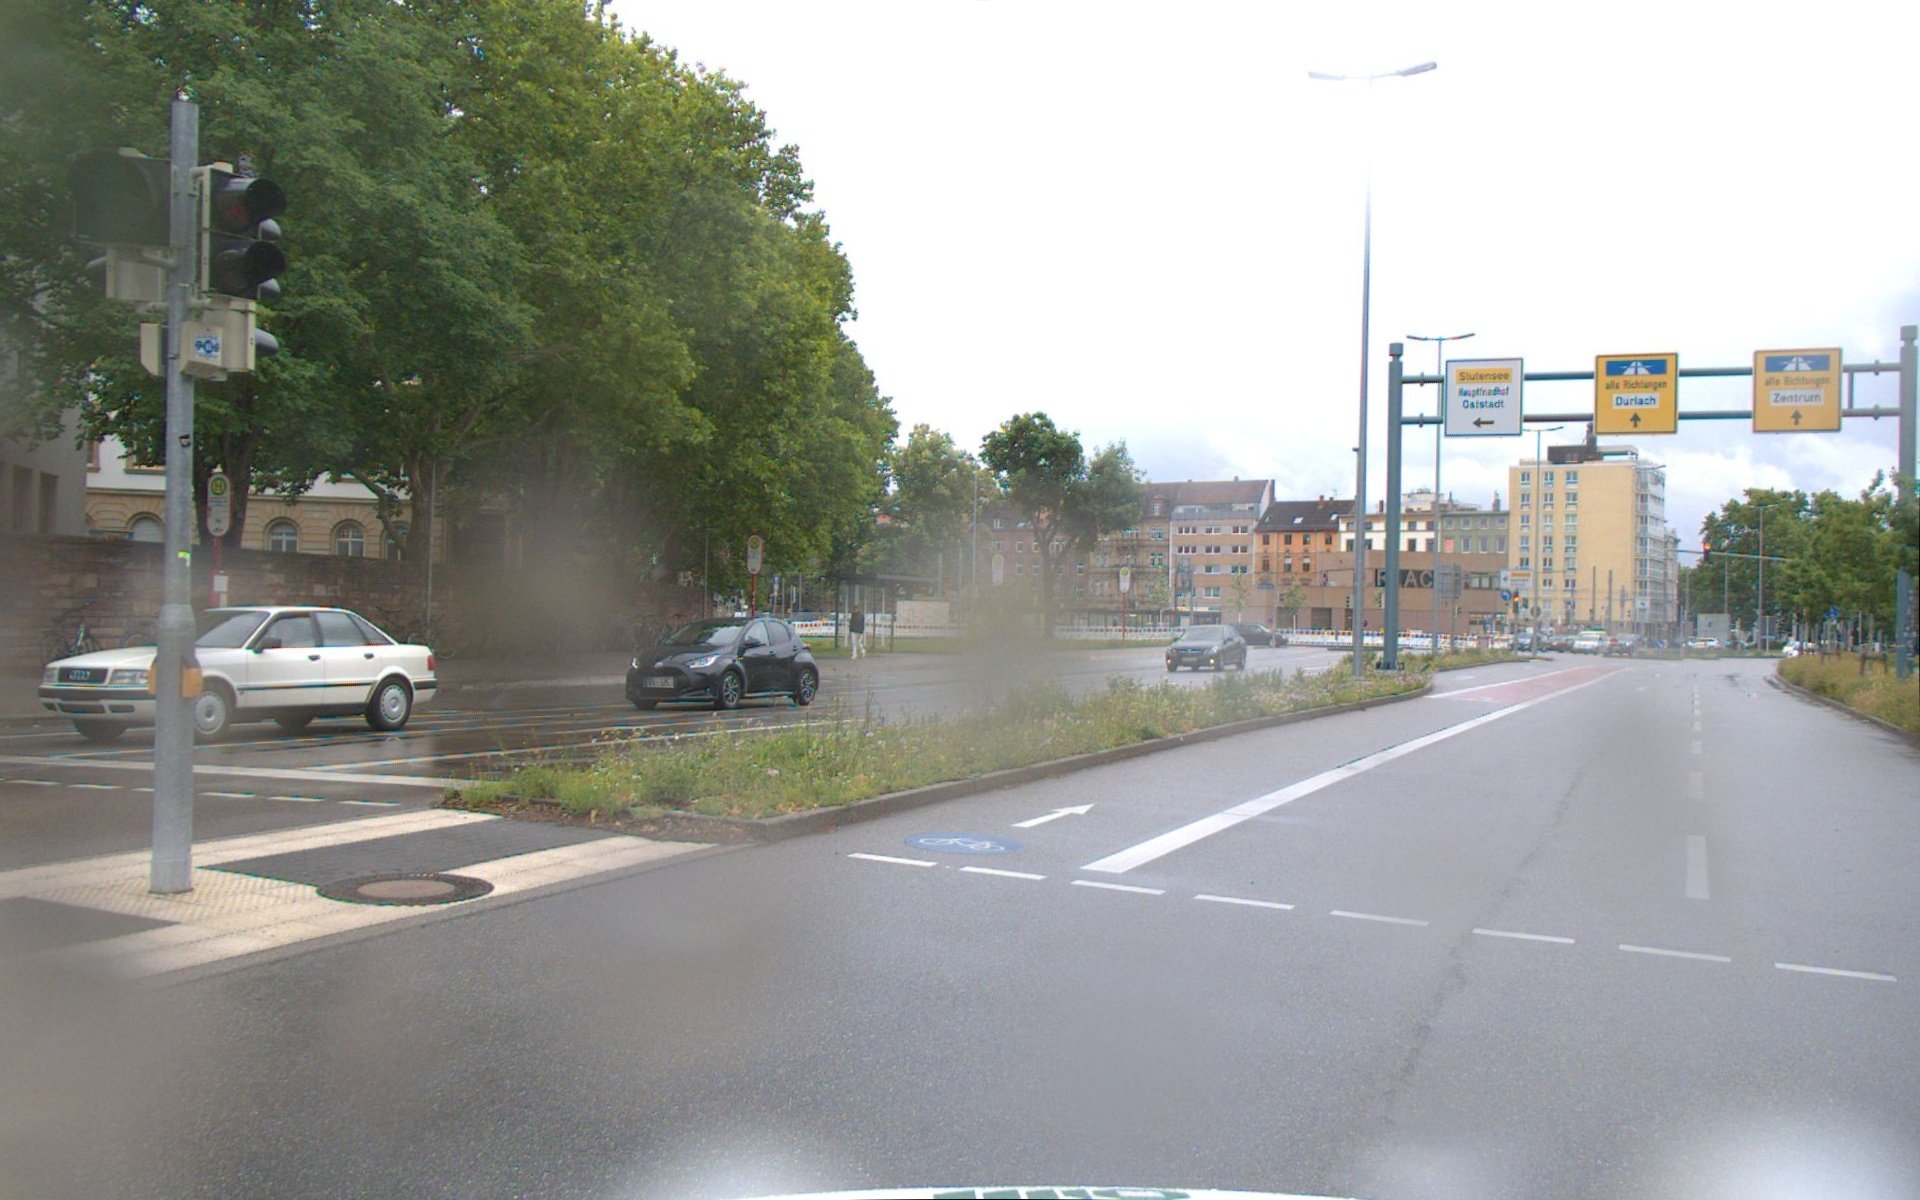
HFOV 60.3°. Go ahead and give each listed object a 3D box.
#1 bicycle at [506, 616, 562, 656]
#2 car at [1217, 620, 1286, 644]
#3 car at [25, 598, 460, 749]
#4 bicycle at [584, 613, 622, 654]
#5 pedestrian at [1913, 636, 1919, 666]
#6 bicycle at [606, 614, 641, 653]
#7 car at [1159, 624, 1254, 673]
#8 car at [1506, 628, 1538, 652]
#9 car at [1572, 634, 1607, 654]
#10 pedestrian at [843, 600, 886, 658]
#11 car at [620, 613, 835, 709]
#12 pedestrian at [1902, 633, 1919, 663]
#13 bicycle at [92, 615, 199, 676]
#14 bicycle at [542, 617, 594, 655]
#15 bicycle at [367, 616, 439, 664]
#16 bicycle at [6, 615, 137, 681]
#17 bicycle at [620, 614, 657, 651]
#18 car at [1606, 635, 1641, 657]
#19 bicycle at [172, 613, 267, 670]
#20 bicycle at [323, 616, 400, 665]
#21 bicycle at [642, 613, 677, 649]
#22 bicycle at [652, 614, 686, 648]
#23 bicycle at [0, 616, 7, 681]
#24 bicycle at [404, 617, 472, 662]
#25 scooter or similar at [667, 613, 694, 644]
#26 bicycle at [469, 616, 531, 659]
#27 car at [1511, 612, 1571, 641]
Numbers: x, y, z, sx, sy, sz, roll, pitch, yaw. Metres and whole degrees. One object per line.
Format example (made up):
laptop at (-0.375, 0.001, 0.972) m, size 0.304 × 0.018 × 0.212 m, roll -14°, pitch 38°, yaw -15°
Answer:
bicycle at (-11.164, 0.926, 43.358) m, size 0.715 × 1.000 × 1.702 m, roll 1°, pitch 0°, yaw 12°
car at (18.644, 2.035, 105.698) m, size 4.105 × 1.427 × 1.618 m, roll 1°, pitch -1°, yaw 20°
car at (-7.624, 0.744, 18.106) m, size 1.563 × 1.440 × 4.522 m, roll -1°, pitch -1°, yaw 23°
bicycle at (-10.471, 0.970, 48.567) m, size 0.561 × 1.156 × 1.992 m, roll 1°, pitch 0°, yaw 3°
pedestrian at (52.305, 2.783, 89.703) m, size 1.005 × 1.616 × 0.932 m, roll 1°, pitch -1°, yaw 37°
bicycle at (-10.364, 1.015, 50.984) m, size 0.561 × 1.156 × 1.992 m, roll 1°, pitch 0°, yaw 3°
car at (8.166, 1.570, 54.506) m, size 1.773 × 1.567 × 4.698 m, roll -1°, pitch -1°, yaw 26°
car at (42.116, 2.965, 123.885) m, size 1.673 × 1.736 × 3.814 m, roll 1°, pitch -1°, yaw 29°
car at (46.459, 3.235, 122.098) m, size 1.649 × 1.429 × 4.147 m, roll 0°, pitch -1°, yaw 32°
pedestrian at (-2.894, 0.872, 50.297) m, size 0.850 × 1.725 × 1.400 m, roll 1°, pitch -1°, yaw 17°
car at (-3.679, 0.955, 26.894) m, size 1.591 × 1.440 × 4.064 m, roll -1°, pitch -1°, yaw 23°
pedestrian at (53.209, 2.693, 92.574) m, size 0.741 × 1.616 × 0.932 m, roll 1°, pitch -1°, yaw 36°
bicycle at (-13.951, 0.770, 28.376) m, size 0.715 × 1.000 × 1.702 m, roll 1°, pitch 0°, yaw 12°
bicycle at (-10.749, 0.983, 45.412) m, size 0.715 × 1.000 × 1.702 m, roll 1°, pitch 0°, yaw 12°
bicycle at (-12.326, 0.875, 36.641) m, size 0.715 × 1.000 × 1.702 m, roll 1°, pitch 0°, yaw 12°
bicycle at (-14.201, 0.751, 26.496) m, size 0.716 × 1.000 × 1.866 m, roll 1°, pitch 0°, yaw 16°
bicycle at (-10.296, 1.019, 53.059) m, size 0.560 × 1.156 × 1.993 m, roll 1°, pitch 0°, yaw 7°
car at (51.493, 3.565, 128.364) m, size 1.956 × 1.665 × 4.595 m, roll -1°, pitch -2°, yaw 29°
bicycle at (-13.645, 0.750, 30.529) m, size 0.715 × 1.000 × 1.702 m, roll 1°, pitch 0°, yaw 12°
bicycle at (-12.612, 0.841, 34.924) m, size 0.715 × 1.000 × 1.702 m, roll 1°, pitch 0°, yaw 12°
bicycle at (-10.028, 1.029, 55.323) m, size 0.560 × 1.156 × 1.993 m, roll 1°, pitch 0°, yaw 7°
bicycle at (-10.081, 1.067, 57.387) m, size 0.560 × 1.156 × 1.993 m, roll 1°, pitch 0°, yaw 7°
bicycle at (-15.107, 0.721, 24.513) m, size 0.715 × 1.000 × 1.702 m, roll 1°, pitch 0°, yaw 12°
bicycle at (-11.963, 0.891, 37.947) m, size 0.715 × 1.000 × 1.702 m, roll 1°, pitch 0°, yaw 12°
scooter or similar at (-9.953, 1.006, 58.835) m, size 0.560 × 1.065 × 1.363 m, roll 1°, pitch 0°, yaw 7°
bicycle at (-11.155, 0.910, 40.160) m, size 0.715 × 1.000 × 1.702 m, roll 1°, pitch 0°, yaw 12°
car at (72.595, 3.261, 206.720) m, size 6.615 × 3.439 × 2.804 m, roll 1°, pitch -1°, yaw 30°
